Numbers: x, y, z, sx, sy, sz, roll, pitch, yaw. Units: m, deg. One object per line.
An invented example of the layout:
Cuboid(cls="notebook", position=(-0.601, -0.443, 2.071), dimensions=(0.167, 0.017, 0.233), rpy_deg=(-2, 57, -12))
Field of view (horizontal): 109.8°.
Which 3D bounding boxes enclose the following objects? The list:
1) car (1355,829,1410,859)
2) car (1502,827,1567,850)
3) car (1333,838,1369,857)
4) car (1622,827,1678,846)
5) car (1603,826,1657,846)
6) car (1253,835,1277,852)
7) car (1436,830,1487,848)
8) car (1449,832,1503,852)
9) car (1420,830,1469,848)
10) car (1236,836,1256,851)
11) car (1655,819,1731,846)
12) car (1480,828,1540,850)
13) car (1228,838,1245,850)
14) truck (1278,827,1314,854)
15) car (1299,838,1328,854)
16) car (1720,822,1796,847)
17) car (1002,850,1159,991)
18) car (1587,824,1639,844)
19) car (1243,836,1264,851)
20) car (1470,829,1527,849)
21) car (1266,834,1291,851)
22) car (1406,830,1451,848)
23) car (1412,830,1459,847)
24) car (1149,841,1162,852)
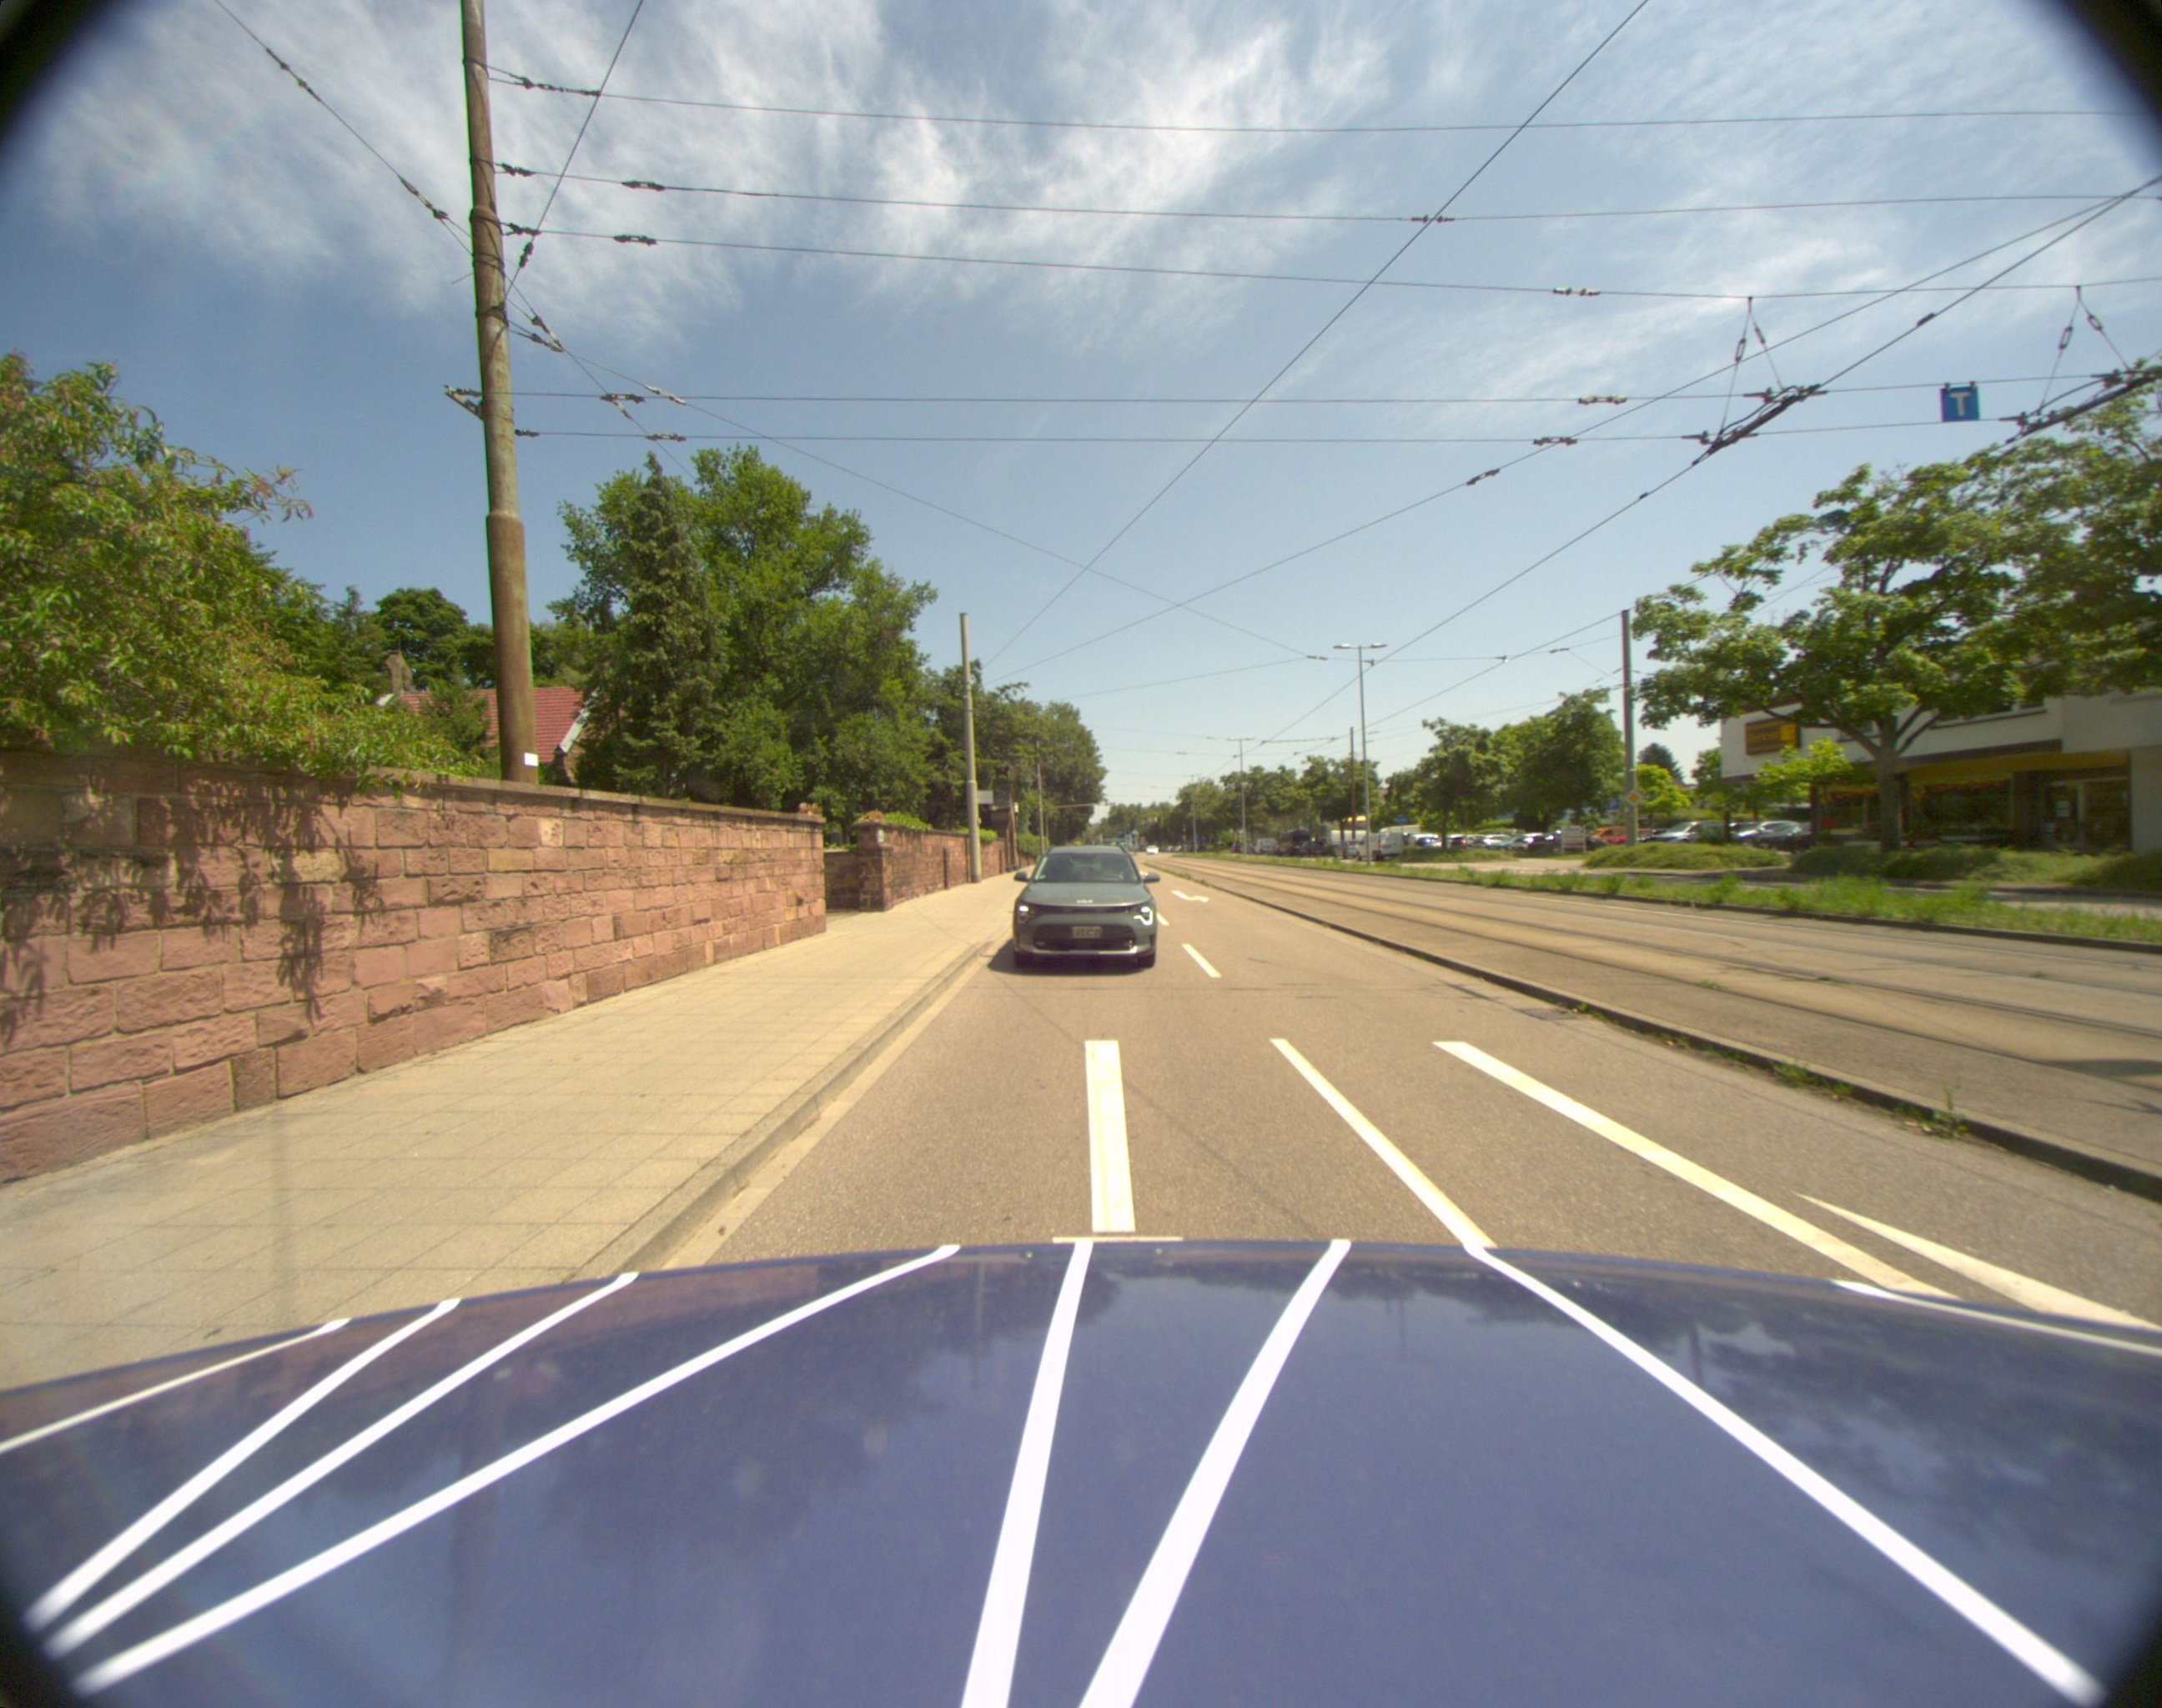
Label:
Cuboid(cls="car", position=(20.961, -0.700, 52.999), dimensions=(1.998, 1.873, 4.661), rpy_deg=(-2, 1, 1))
Cuboid(cls="car", position=(31.226, -1.049, 52.412), dimensions=(3.414, 1.482, 1.793), rpy_deg=(-2, 1, -4))
Cuboid(cls="car", position=(21.052, -0.541, 59.449), dimensions=(1.674, 1.379, 3.569), rpy_deg=(-2, 1, 3))
Cuboid(cls="car", position=(44.605, -1.383, 59.598), dimensions=(3.355, 1.381, 1.506), rpy_deg=(-2, 1, -2))
Cuboid(cls="car", position=(44.939, -1.469, 62.182), dimensions=(3.355, 1.450, 1.506), rpy_deg=(-2, 1, -2))
Cuboid(cls="car", position=(21.634, -1.212, 89.405), dimensions=(1.681, 1.963, 4.509), rpy_deg=(-2, 1, 0))
Cuboid(cls="car", position=(31.415, -1.241, 62.797), dimensions=(3.414, 1.386, 1.602), rpy_deg=(-2, 1, -4))
Cuboid(cls="car", position=(30.958, -0.946, 59.659), dimensions=(3.414, 1.386, 1.602), rpy_deg=(-2, 1, -4))
Cuboid(cls="car", position=(31.191, -1.288, 65.207), dimensions=(3.414, 1.386, 1.602), rpy_deg=(-2, 1, -4))
Cuboid(cls="car", position=(21.631, -1.358, 99.756), dimensions=(1.681, 1.783, 4.202), rpy_deg=(-2, 1, 0))
Cuboid(cls="car", position=(43.788, -1.554, 54.383), dimensions=(3.997, 1.774, 1.813), rpy_deg=(-2, 1, -2))
Cuboid(cls="car", position=(31.027, -1.080, 54.987), dimensions=(3.414, 1.482, 1.598), rpy_deg=(-2, 1, -4))
Cuboid(cls="car", position=(21.822, -1.405, 106.693), dimensions=(1.681, 1.693, 3.823), rpy_deg=(-2, 1, 0))
Cuboid(cls="truck", position=(21.330, -1.316, 75.546), dimensions=(2.225, 2.527, 4.928), rpy_deg=(-2, 1, 2))
Cuboid(cls="car", position=(21.205, -0.765, 69.412), dimensions=(1.674, 1.379, 3.669), rpy_deg=(-2, 1, 3))
Cuboid(cls="car", position=(43.877, -1.249, 49.290), dimensions=(3.492, 1.528, 1.624), rpy_deg=(-2, 1, -2))
Cuboid(cls="car", position=(0.048, 0.760, 10.860), dimensions=(1.789, 1.561, 4.183), rpy_deg=(-1, 1, 1))
Cuboid(cls="car", position=(45.238, -1.718, 64.623), dimensions=(3.355, 1.552, 1.506), rpy_deg=(-2, 1, -2))
Cuboid(cls="car", position=(21.633, -1.359, 95.333), dimensions=(1.681, 1.783, 4.202), rpy_deg=(-2, 1, 0))
Cuboid(cls="car", position=(31.488, -1.130, 57.387), dimensions=(3.414, 1.386, 1.602), rpy_deg=(-2, 1, -4))
Cuboid(cls="car", position=(21.797, -1.232, 83.991), dimensions=(1.681, 1.783, 3.868), rpy_deg=(-2, 1, 0))
Cuboid(cls="car", position=(32.349, -1.413, 70.723), dimensions=(3.414, 1.497, 1.602), rpy_deg=(-2, 1, -4))
Cuboid(cls="car", position=(31.733, -1.352, 68.068), dimensions=(3.414, 1.386, 1.602), rpy_deg=(-2, 1, -4))
Cuboid(cls="car", position=(12.093, -1.170, 123.165), dimensions=(1.998, 1.652, 4.000), rpy_deg=(-2, 1, 4))
